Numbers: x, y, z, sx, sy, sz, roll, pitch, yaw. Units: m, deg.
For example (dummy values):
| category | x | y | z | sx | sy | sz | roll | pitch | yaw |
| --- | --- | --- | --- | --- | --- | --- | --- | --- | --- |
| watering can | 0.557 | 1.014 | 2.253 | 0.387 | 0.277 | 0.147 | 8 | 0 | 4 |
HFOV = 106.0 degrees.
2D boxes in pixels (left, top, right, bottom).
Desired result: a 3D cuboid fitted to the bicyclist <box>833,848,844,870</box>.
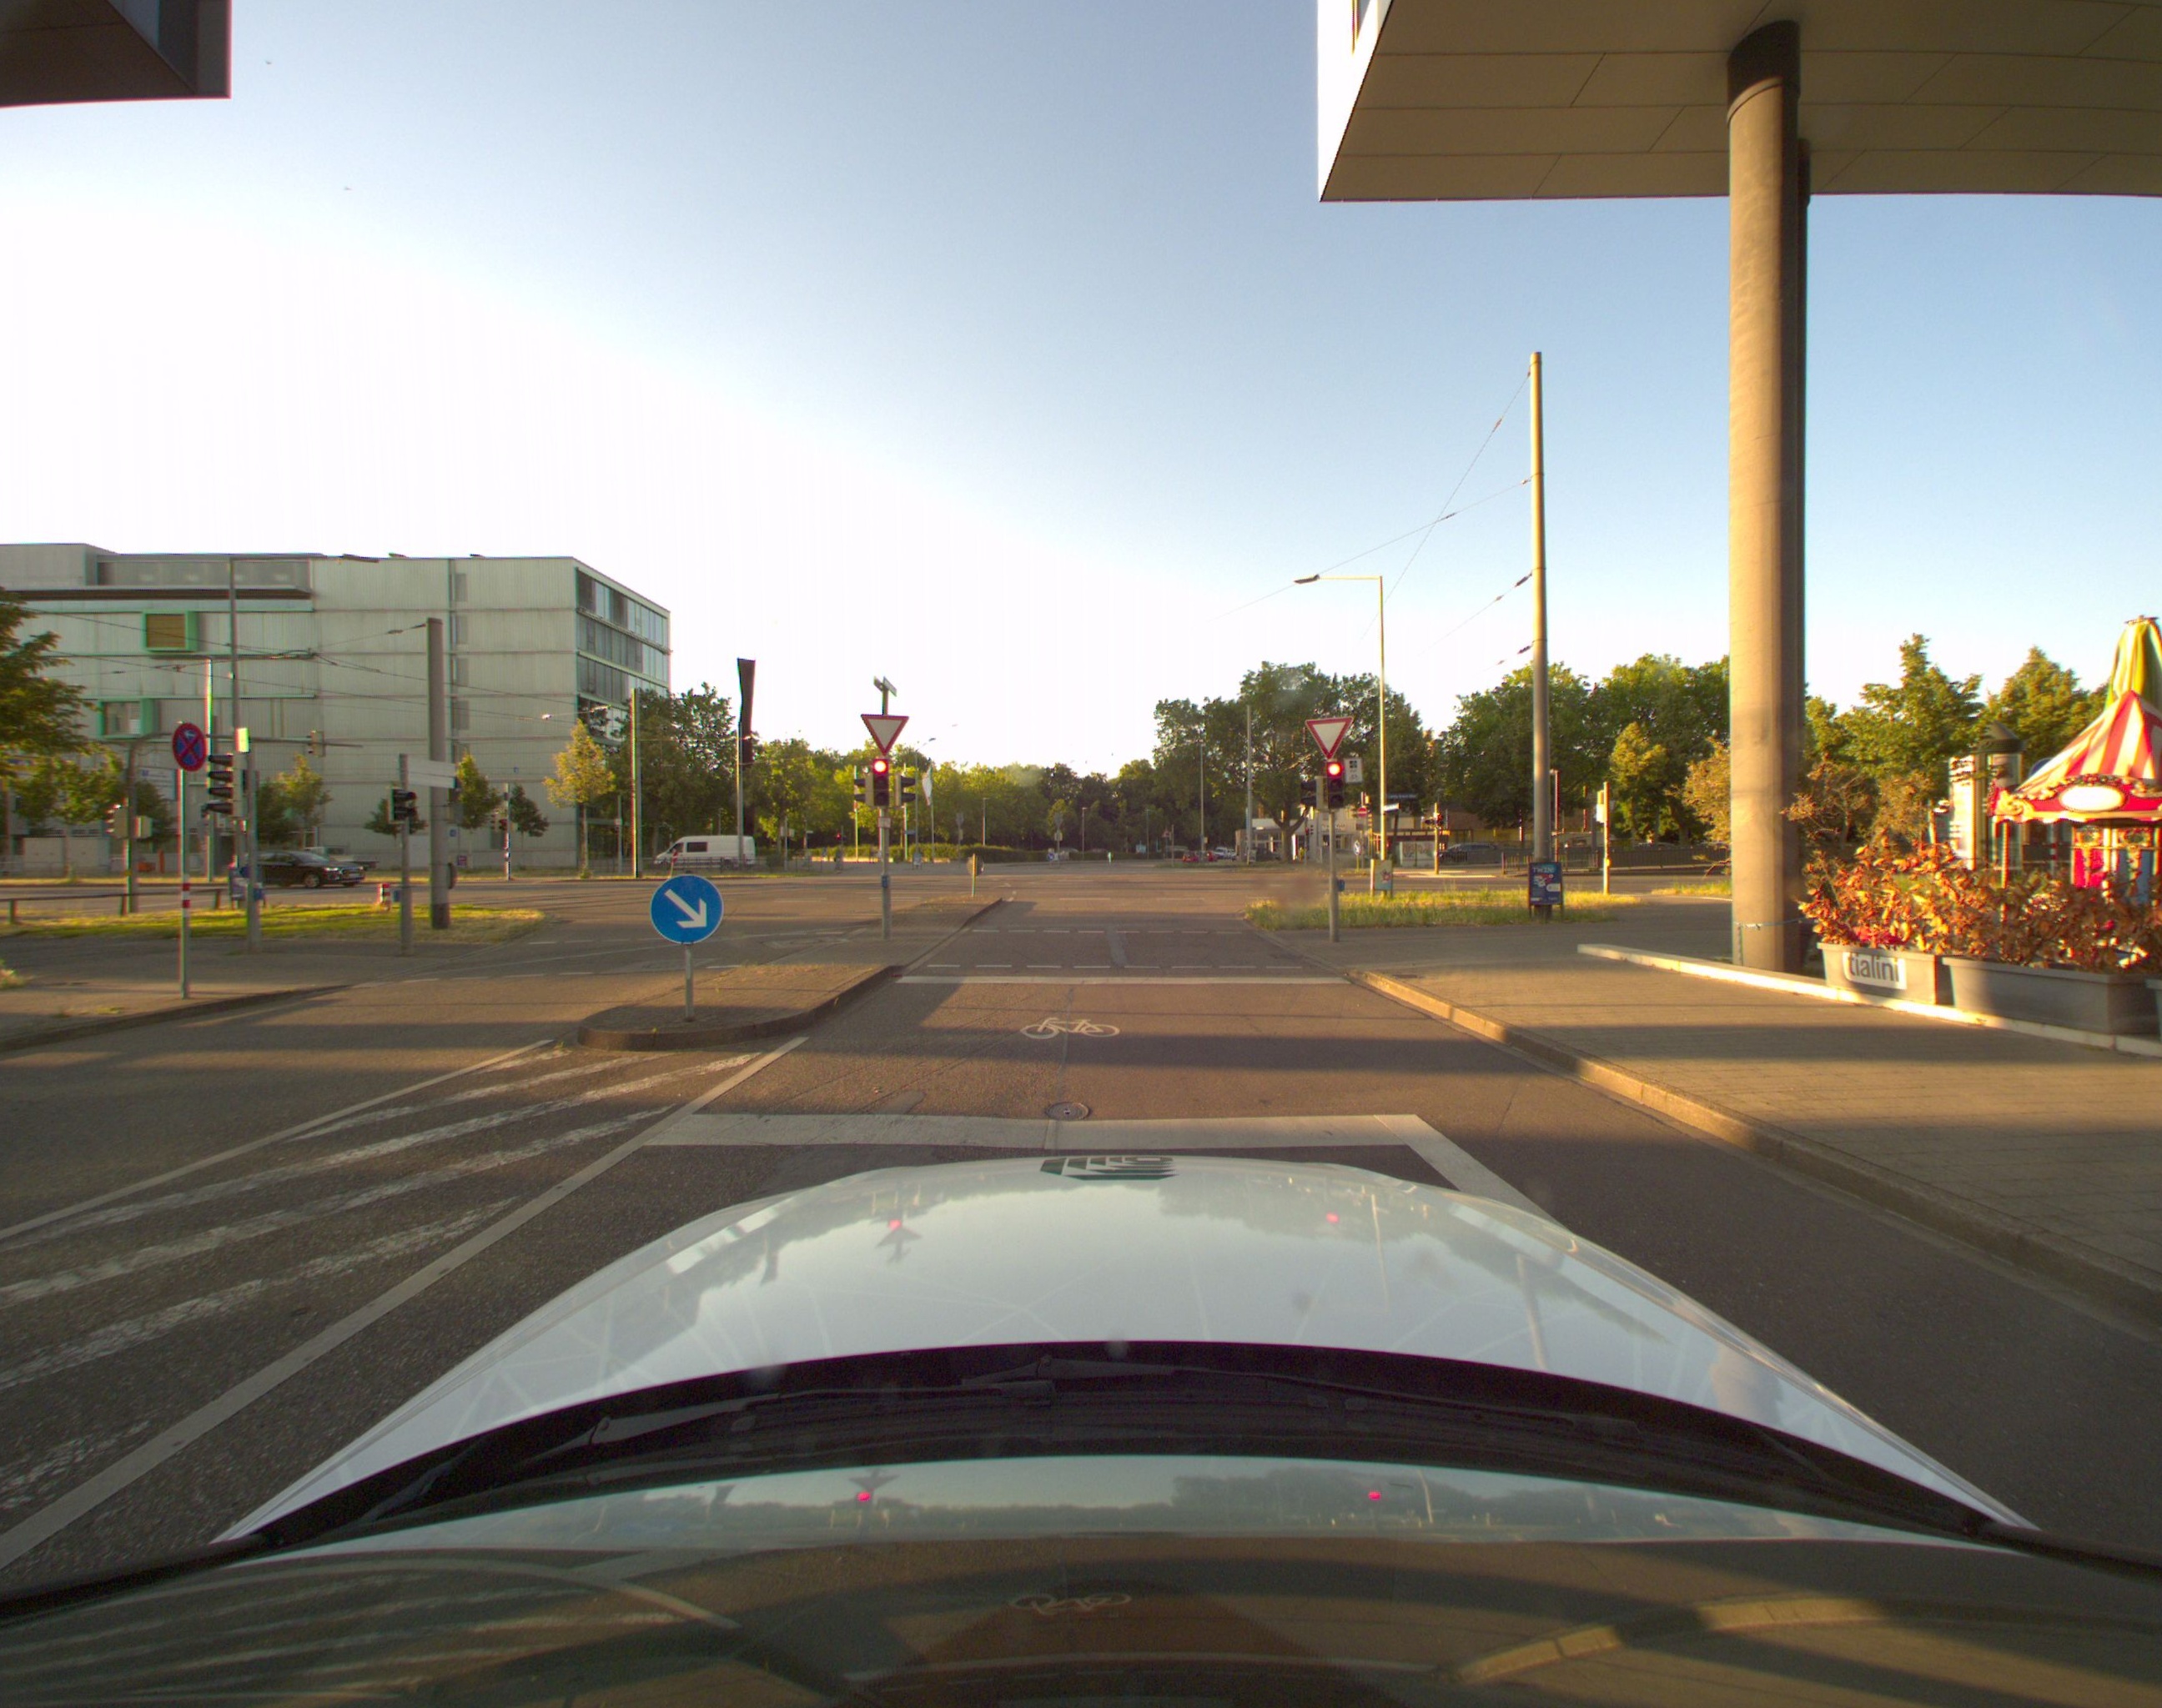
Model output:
| category | x | y | z | sx | sy | sz | roll | pitch | yaw |
| --- | --- | --- | --- | --- | --- | --- | --- | --- | --- |
| bicyclist | -19.070 | 0.368 | 63.927 | 0.753 | 1.709 | 0.914 | -1 | 0 | -21 |

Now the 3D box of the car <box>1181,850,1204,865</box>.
| category | x | y | z | sx | sy | sz | roll | pitch | yaw |
| --- | --- | --- | --- | --- | --- | --- | --- | --- | --- |
| car | 13.108 | 0.382 | 95.561 | 1.978 | 1.662 | 4.018 | -1 | -1 | 17 |

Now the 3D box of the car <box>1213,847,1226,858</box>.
| category | x | y | z | sx | sy | sz | roll | pitch | yaw |
| --- | --- | --- | --- | --- | --- | --- | --- | --- | --- |
| car | 22.272 | -0.244 | 130.882 | 1.850 | 1.794 | 4.013 | -1 | -1 | 12 |

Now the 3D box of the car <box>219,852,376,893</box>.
| category | x | y | z | sx | sy | sz | roll | pitch | yaw |
| --- | --- | --- | --- | --- | --- | --- | --- | --- | --- |
| car | -32.503 | 0.740 | 33.897 | 4.467 | 1.557 | 1.986 | -1 | 0 | -4 |

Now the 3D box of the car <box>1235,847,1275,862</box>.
| category | x | y | z | sx | sy | sz | roll | pitch | yaw |
| --- | --- | --- | --- | --- | --- | --- | --- | --- | --- |
| car | 18.927 | 0.017 | 88.903 | 4.194 | 1.552 | 2.005 | -1 | -1 | 9 |

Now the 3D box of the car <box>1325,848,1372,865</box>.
| category | x | y | z | sx | sy | sz | roll | pitch | yaw |
| --- | --- | --- | --- | --- | --- | --- | --- | --- | --- |
| car | 23.579 | 0.233 | 71.895 | 3.715 | 1.440 | 1.669 | -1 | -1 | 11 |

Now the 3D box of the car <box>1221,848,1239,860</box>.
| category | x | y | z | sx | sy | sz | roll | pitch | yaw |
| --- | --- | --- | --- | --- | --- | --- | --- | --- | --- |
| car | 21.091 | 0.004 | 115.302 | 1.978 | 1.662 | 4.018 | -1 | -1 | 17 |

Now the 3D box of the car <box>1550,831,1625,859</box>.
| category | x | y | z | sx | sy | sz | roll | pitch | yaw |
| --- | --- | --- | --- | --- | --- | --- | --- | --- | --- |
| car | 47.837 | -0.842 | 77.056 | 5.561 | 2.551 | 2.235 | -1 | 0 | 9 |

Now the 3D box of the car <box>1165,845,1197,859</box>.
| category | x | y | z | sx | sy | sz | roll | pitch | yaw |
| --- | --- | --- | --- | --- | --- | --- | --- | --- | --- |
| car | 15.419 | -0.326 | 125.731 | 4.753 | 2.006 | 2.002 | -1 | -1 | 3 |

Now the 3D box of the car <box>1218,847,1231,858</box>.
| category | x | y | z | sx | sy | sz | roll | pitch | yaw |
| --- | --- | --- | --- | --- | --- | --- | --- | --- | --- |
| car | 23.936 | -0.251 | 135.740 | 1.849 | 1.794 | 4.015 | -1 | -1 | 14 |

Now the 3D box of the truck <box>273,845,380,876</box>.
| category | x | y | z | sx | sy | sz | roll | pitch | yaw |
| --- | --- | --- | --- | --- | --- | --- | --- | --- | --- |
| truck | -53.535 | 0.459 | 57.851 | 5.539 | 2.054 | 2.067 | -1 | 0 | -1 |

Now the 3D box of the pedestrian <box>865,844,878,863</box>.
| category | x | y | z | sx | sy | sz | roll | pitch | yaw |
| --- | --- | --- | --- | --- | --- | --- | --- | --- | --- |
| pedestrian | -19.802 | -0.052 | 77.025 | 0.852 | 1.744 | 0.835 | -1 | 0 | 38 |

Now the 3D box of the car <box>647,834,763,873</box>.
| category | x | y | z | sx | sy | sz | roll | pitch | yaw |
| --- | --- | --- | --- | --- | --- | --- | --- | --- | --- |
| car | -26.729 | 0.010 | 58.048 | 6.892 | 2.636 | 2.812 | -1 | -1 | 1 |

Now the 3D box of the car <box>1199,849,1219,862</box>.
| category | x | y | z | sx | sy | sz | roll | pitch | yaw |
| --- | --- | --- | --- | --- | --- | --- | --- | --- | --- |
| car | 16.211 | 0.220 | 103.182 | 1.978 | 1.662 | 4.018 | -1 | -1 | 17 |

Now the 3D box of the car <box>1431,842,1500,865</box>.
| category | x | y | z | sx | sy | sz | roll | pitch | yaw |
| --- | --- | --- | --- | --- | --- | --- | --- | --- | --- |
| car | 25.089 | -0.024 | 53.280 | 3.723 | 1.440 | 1.665 | -1 | -1 | 3 |

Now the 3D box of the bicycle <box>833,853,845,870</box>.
| category | x | y | z | sx | sy | sz | roll | pitch | yaw |
| --- | --- | --- | --- | --- | --- | --- | --- | --- | --- |
| bicycle | -19.013 | 0.592 | 64.028 | 0.732 | 1.341 | 2.672 | -1 | 0 | -21 |

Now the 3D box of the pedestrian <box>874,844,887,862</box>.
| category | x | y | z | sx | sy | sz | roll | pitch | yaw |
| --- | --- | --- | --- | --- | --- | --- | --- | --- | --- |
| pedestrian | -19.214 | -0.074 | 77.875 | 0.852 | 1.744 | 0.835 | -1 | 0 | 39 |
